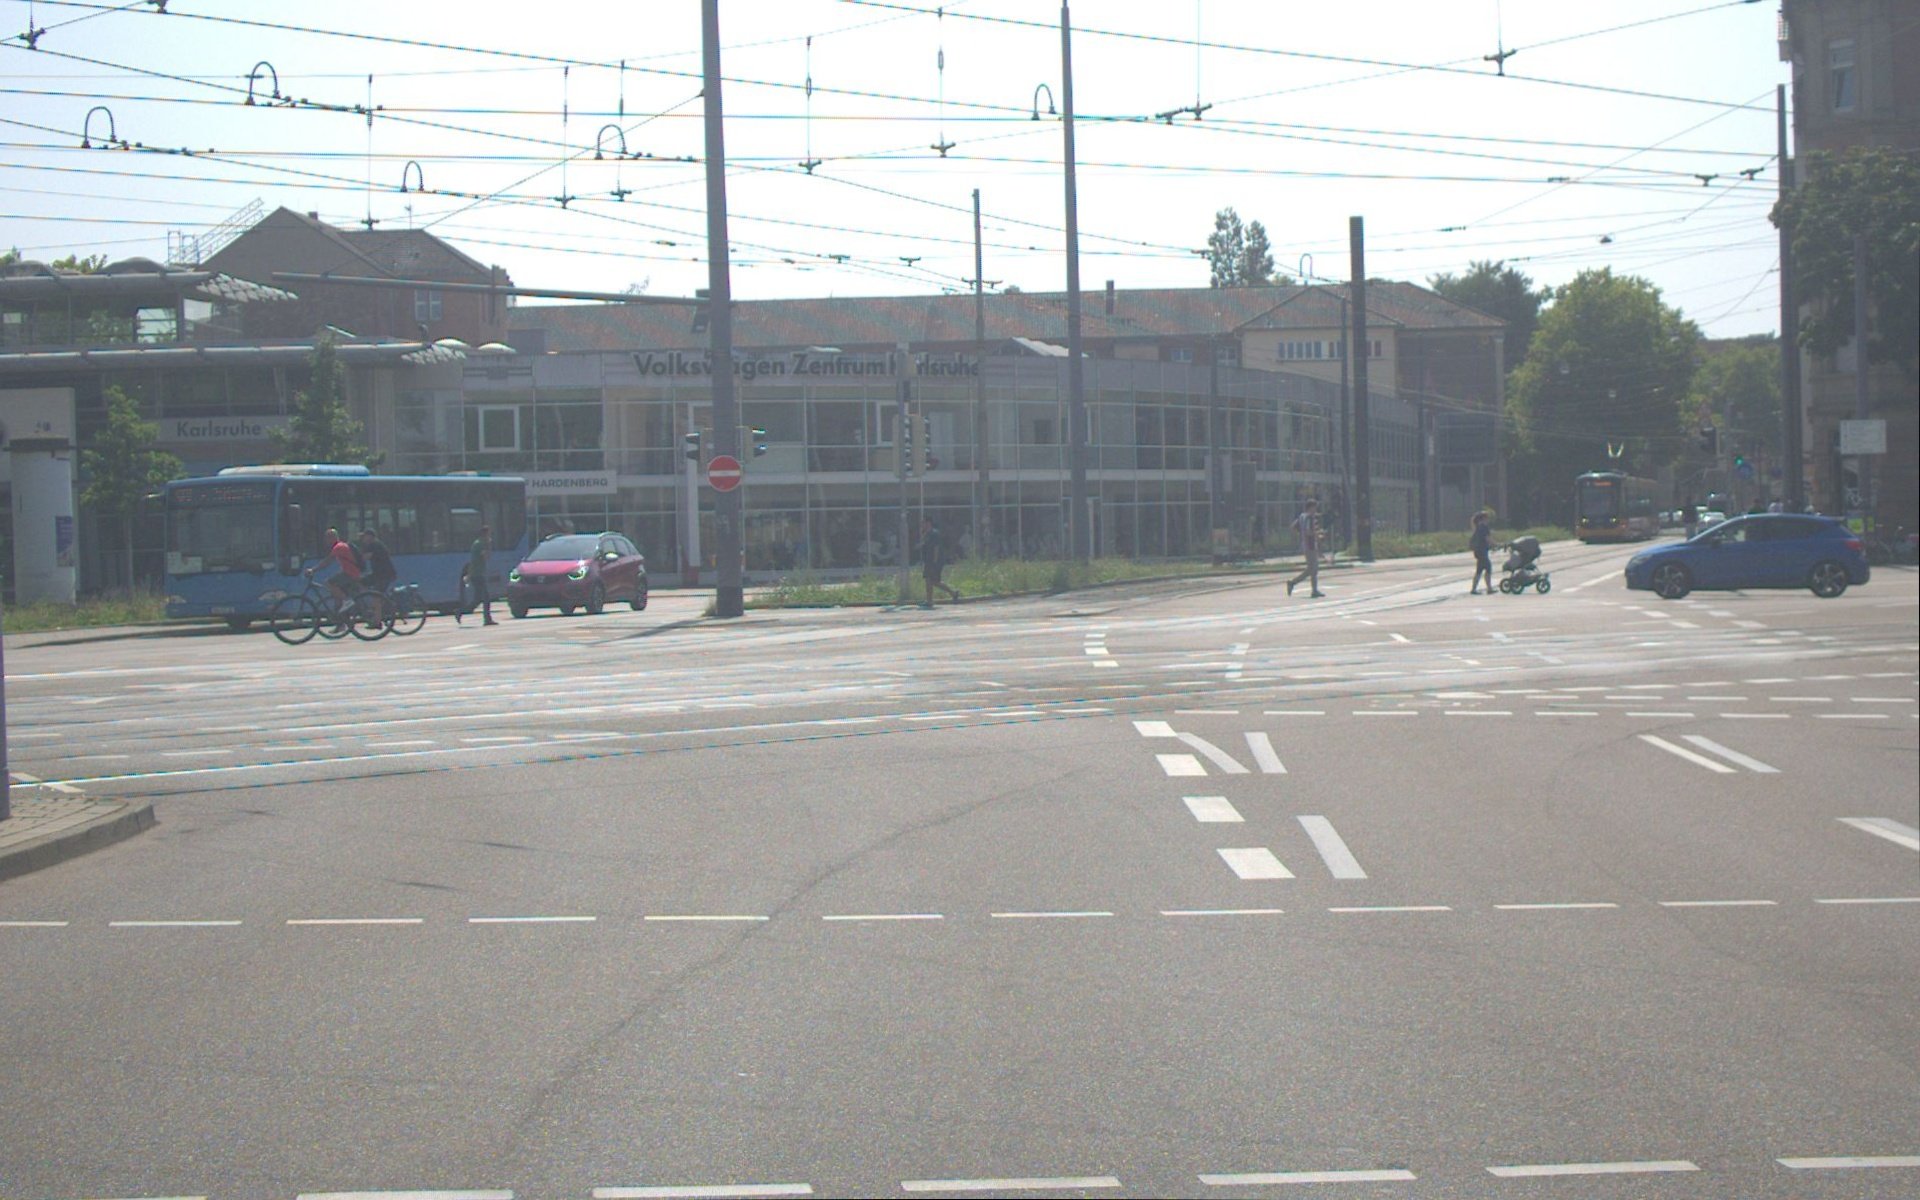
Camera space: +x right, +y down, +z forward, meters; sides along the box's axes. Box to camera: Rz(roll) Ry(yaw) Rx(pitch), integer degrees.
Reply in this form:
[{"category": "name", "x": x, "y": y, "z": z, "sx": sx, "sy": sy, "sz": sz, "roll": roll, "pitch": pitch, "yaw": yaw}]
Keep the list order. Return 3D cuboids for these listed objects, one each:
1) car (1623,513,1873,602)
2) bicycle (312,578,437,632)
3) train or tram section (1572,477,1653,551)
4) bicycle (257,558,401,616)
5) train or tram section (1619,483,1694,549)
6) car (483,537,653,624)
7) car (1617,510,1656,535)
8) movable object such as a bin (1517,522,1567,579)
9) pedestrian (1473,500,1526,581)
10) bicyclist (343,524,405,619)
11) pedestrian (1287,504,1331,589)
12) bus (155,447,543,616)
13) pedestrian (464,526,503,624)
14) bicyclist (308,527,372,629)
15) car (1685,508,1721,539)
[{"category": "car", "x": 13.202, "y": -0.721, "z": 57.787, "sx": 3.988, "sy": 1.389, "sz": 1.595, "roll": -1, "pitch": 1, "yaw": 10}, {"category": "bicycle", "x": -9.274, "y": 0.076, "z": 54.465, "sx": 1.855, "sy": 0.799, "sz": 0.608, "roll": -2, "pitch": 1, "yaw": -19}, {"category": "train or tram section", "x": 32.616, "y": -4.282, "z": 171.565, "sx": 2.590, "sy": 3.504, "sz": 10.889, "roll": -1, "pitch": 1, "yaw": 18}, {"category": "bicycle", "x": -9.275, "y": -0.193, "z": 50.526, "sx": 2.048, "sy": 0.799, "sz": 0.479, "roll": -1, "pitch": 1, "yaw": -13}, {"category": "train or tram section", "x": 38.975, "y": -4.707, "z": 192.130, "sx": 2.590, "sy": 3.504, "sz": 12.961, "roll": -1, "pitch": 1, "yaw": 18}, {"category": "car", "x": -7.481, "y": -0.394, "z": 65.974, "sx": 1.751, "sy": 1.546, "sz": 3.997, "roll": -1, "pitch": 1, "yaw": 17}, {"category": "car", "x": 42.619, "y": -4.867, "z": 216.571, "sx": 1.799, "sy": 1.503, "sz": 3.996, "roll": -1, "pitch": 1, "yaw": 19}, {"category": "movable object such as a bin", "x": 11.189, "y": -0.946, "z": 66.115, "sx": 0.812, "sy": 1.073, "sz": 0.512, "roll": -1, "pitch": 1, "yaw": -11}, {"category": "pedestrian", "x": 10.356, "y": -1.147, "z": 66.007, "sx": 0.850, "sy": 1.539, "sz": 0.529, "roll": -1, "pitch": 1, "yaw": -8}, {"category": "bicyclist", "x": -9.282, "y": -0.455, "z": 54.456, "sx": 0.871, "sy": 1.470, "sz": 0.546, "roll": -2, "pitch": 1, "yaw": -18}, {"category": "pedestrian", "x": 6.623, "y": -1.022, "z": 65.243, "sx": 0.699, "sy": 1.597, "sz": 0.573, "roll": -1, "pitch": 1, "yaw": -8}, {"category": "bus", "x": -11.961, "y": -1.399, "z": 69.067, "sx": 2.564, "sy": 3.072, "sz": 12.014, "roll": -1, "pitch": 1, "yaw": 16}, {"category": "pedestrian", "x": -8.248, "y": -0.434, "z": 59.521, "sx": 0.552, "sy": 1.678, "sz": 0.454, "roll": -1, "pitch": 1, "yaw": -19}, {"category": "bicyclist", "x": -9.113, "y": -0.330, "z": 50.533, "sx": 0.871, "sy": 1.478, "sz": 0.497, "roll": -1, "pitch": 1, "yaw": -12}, {"category": "car", "x": 46.559, "y": -4.782, "z": 215.355, "sx": 1.821, "sy": 1.803, "sz": 3.997, "roll": 1, "pitch": 0, "yaw": 17}]
